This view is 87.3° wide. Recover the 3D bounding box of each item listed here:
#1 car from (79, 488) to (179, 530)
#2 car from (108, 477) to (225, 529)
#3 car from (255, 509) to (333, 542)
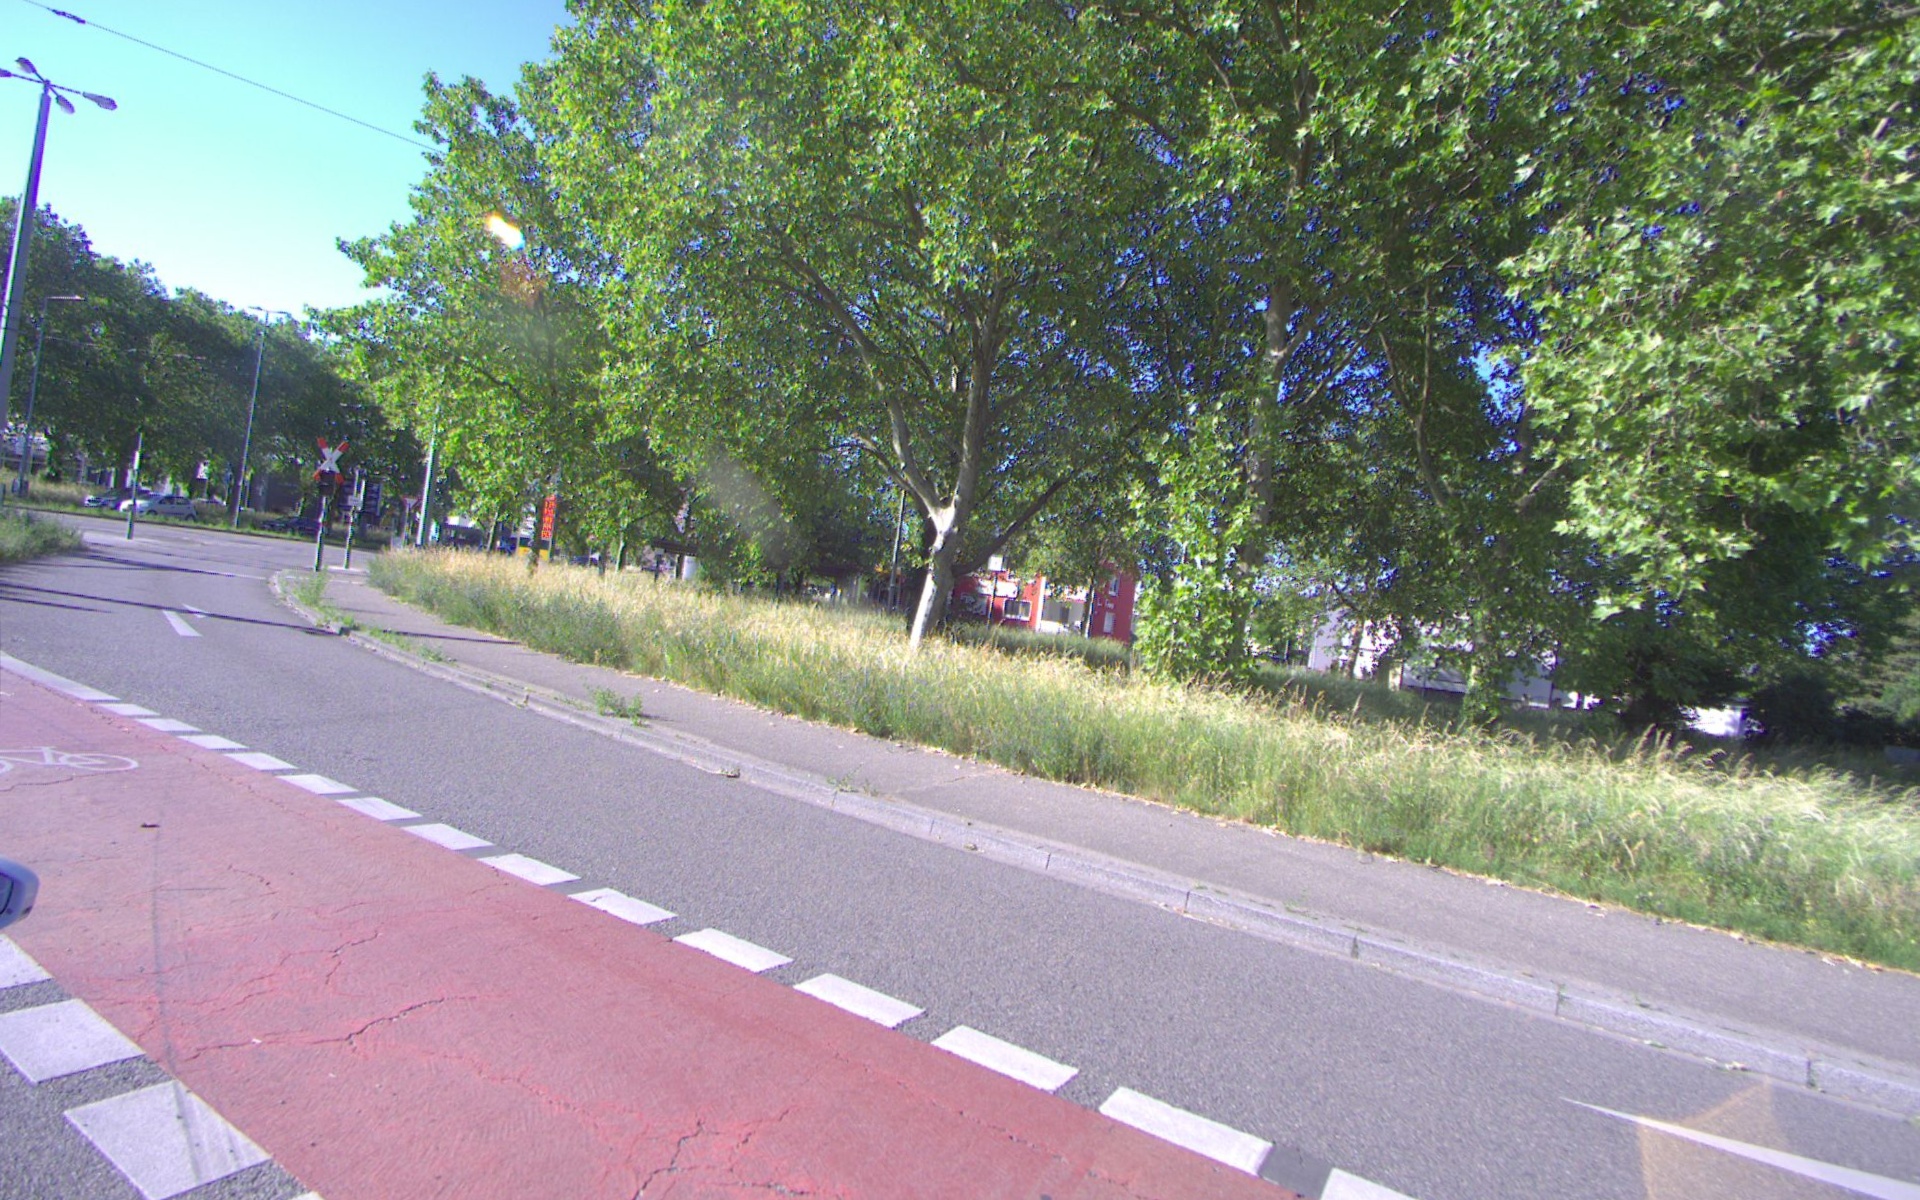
[{"bbox_3d":[-47.567,-5.187,57.669,1.845,1.596,4.006,8,-2,11],"label":"car"},{"bbox_3d":[-44.090,-5.336,56.083,1.962,2.038,4.907,8,0,9],"label":"car"},{"bbox_3d":[-45.892,-5.121,69.433,1.661,1.593,4.527,8,0,10],"label":"car"}]
